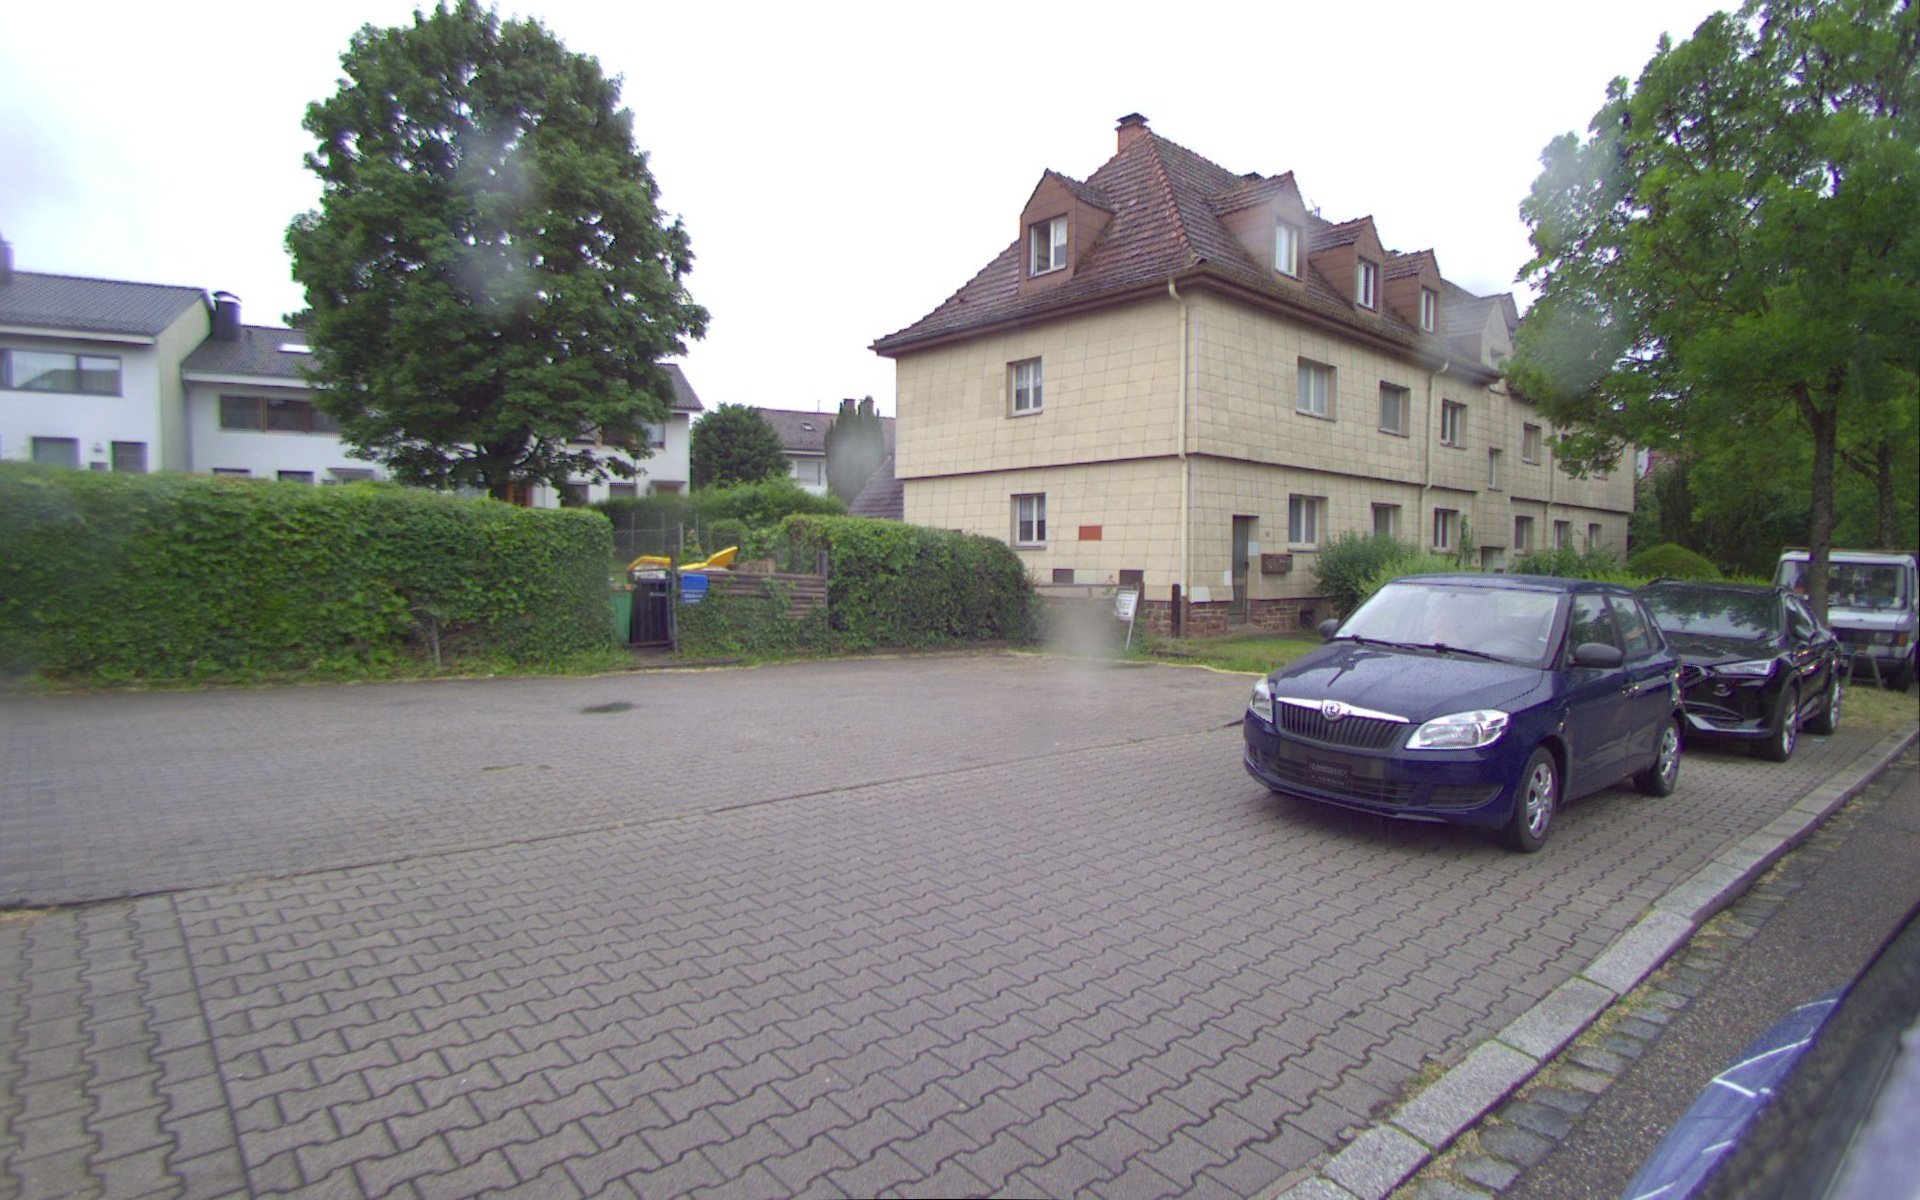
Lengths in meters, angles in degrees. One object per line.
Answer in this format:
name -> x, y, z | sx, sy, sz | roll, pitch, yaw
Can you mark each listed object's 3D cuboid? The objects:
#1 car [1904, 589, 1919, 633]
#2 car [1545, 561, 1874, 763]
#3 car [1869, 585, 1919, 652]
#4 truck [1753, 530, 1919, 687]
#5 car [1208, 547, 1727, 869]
car -> 33.449, 0.401, 34.354 | 4.424, 1.406, 1.691 | 0, 4, -43
car -> 7.506, 0.468, 9.979 | 4.111, 1.516, 1.718 | 0, 4, -42
car -> 23.890, 0.548, 24.992 | 3.951, 1.454, 1.605 | 4, 2, -42
truck -> 15.896, 0.082, 17.716 | 6.392, 2.248, 2.084 | 0, 4, -43
car -> 3.453, 0.486, 6.585 | 3.788, 1.490, 1.608 | 0, 3, -40
